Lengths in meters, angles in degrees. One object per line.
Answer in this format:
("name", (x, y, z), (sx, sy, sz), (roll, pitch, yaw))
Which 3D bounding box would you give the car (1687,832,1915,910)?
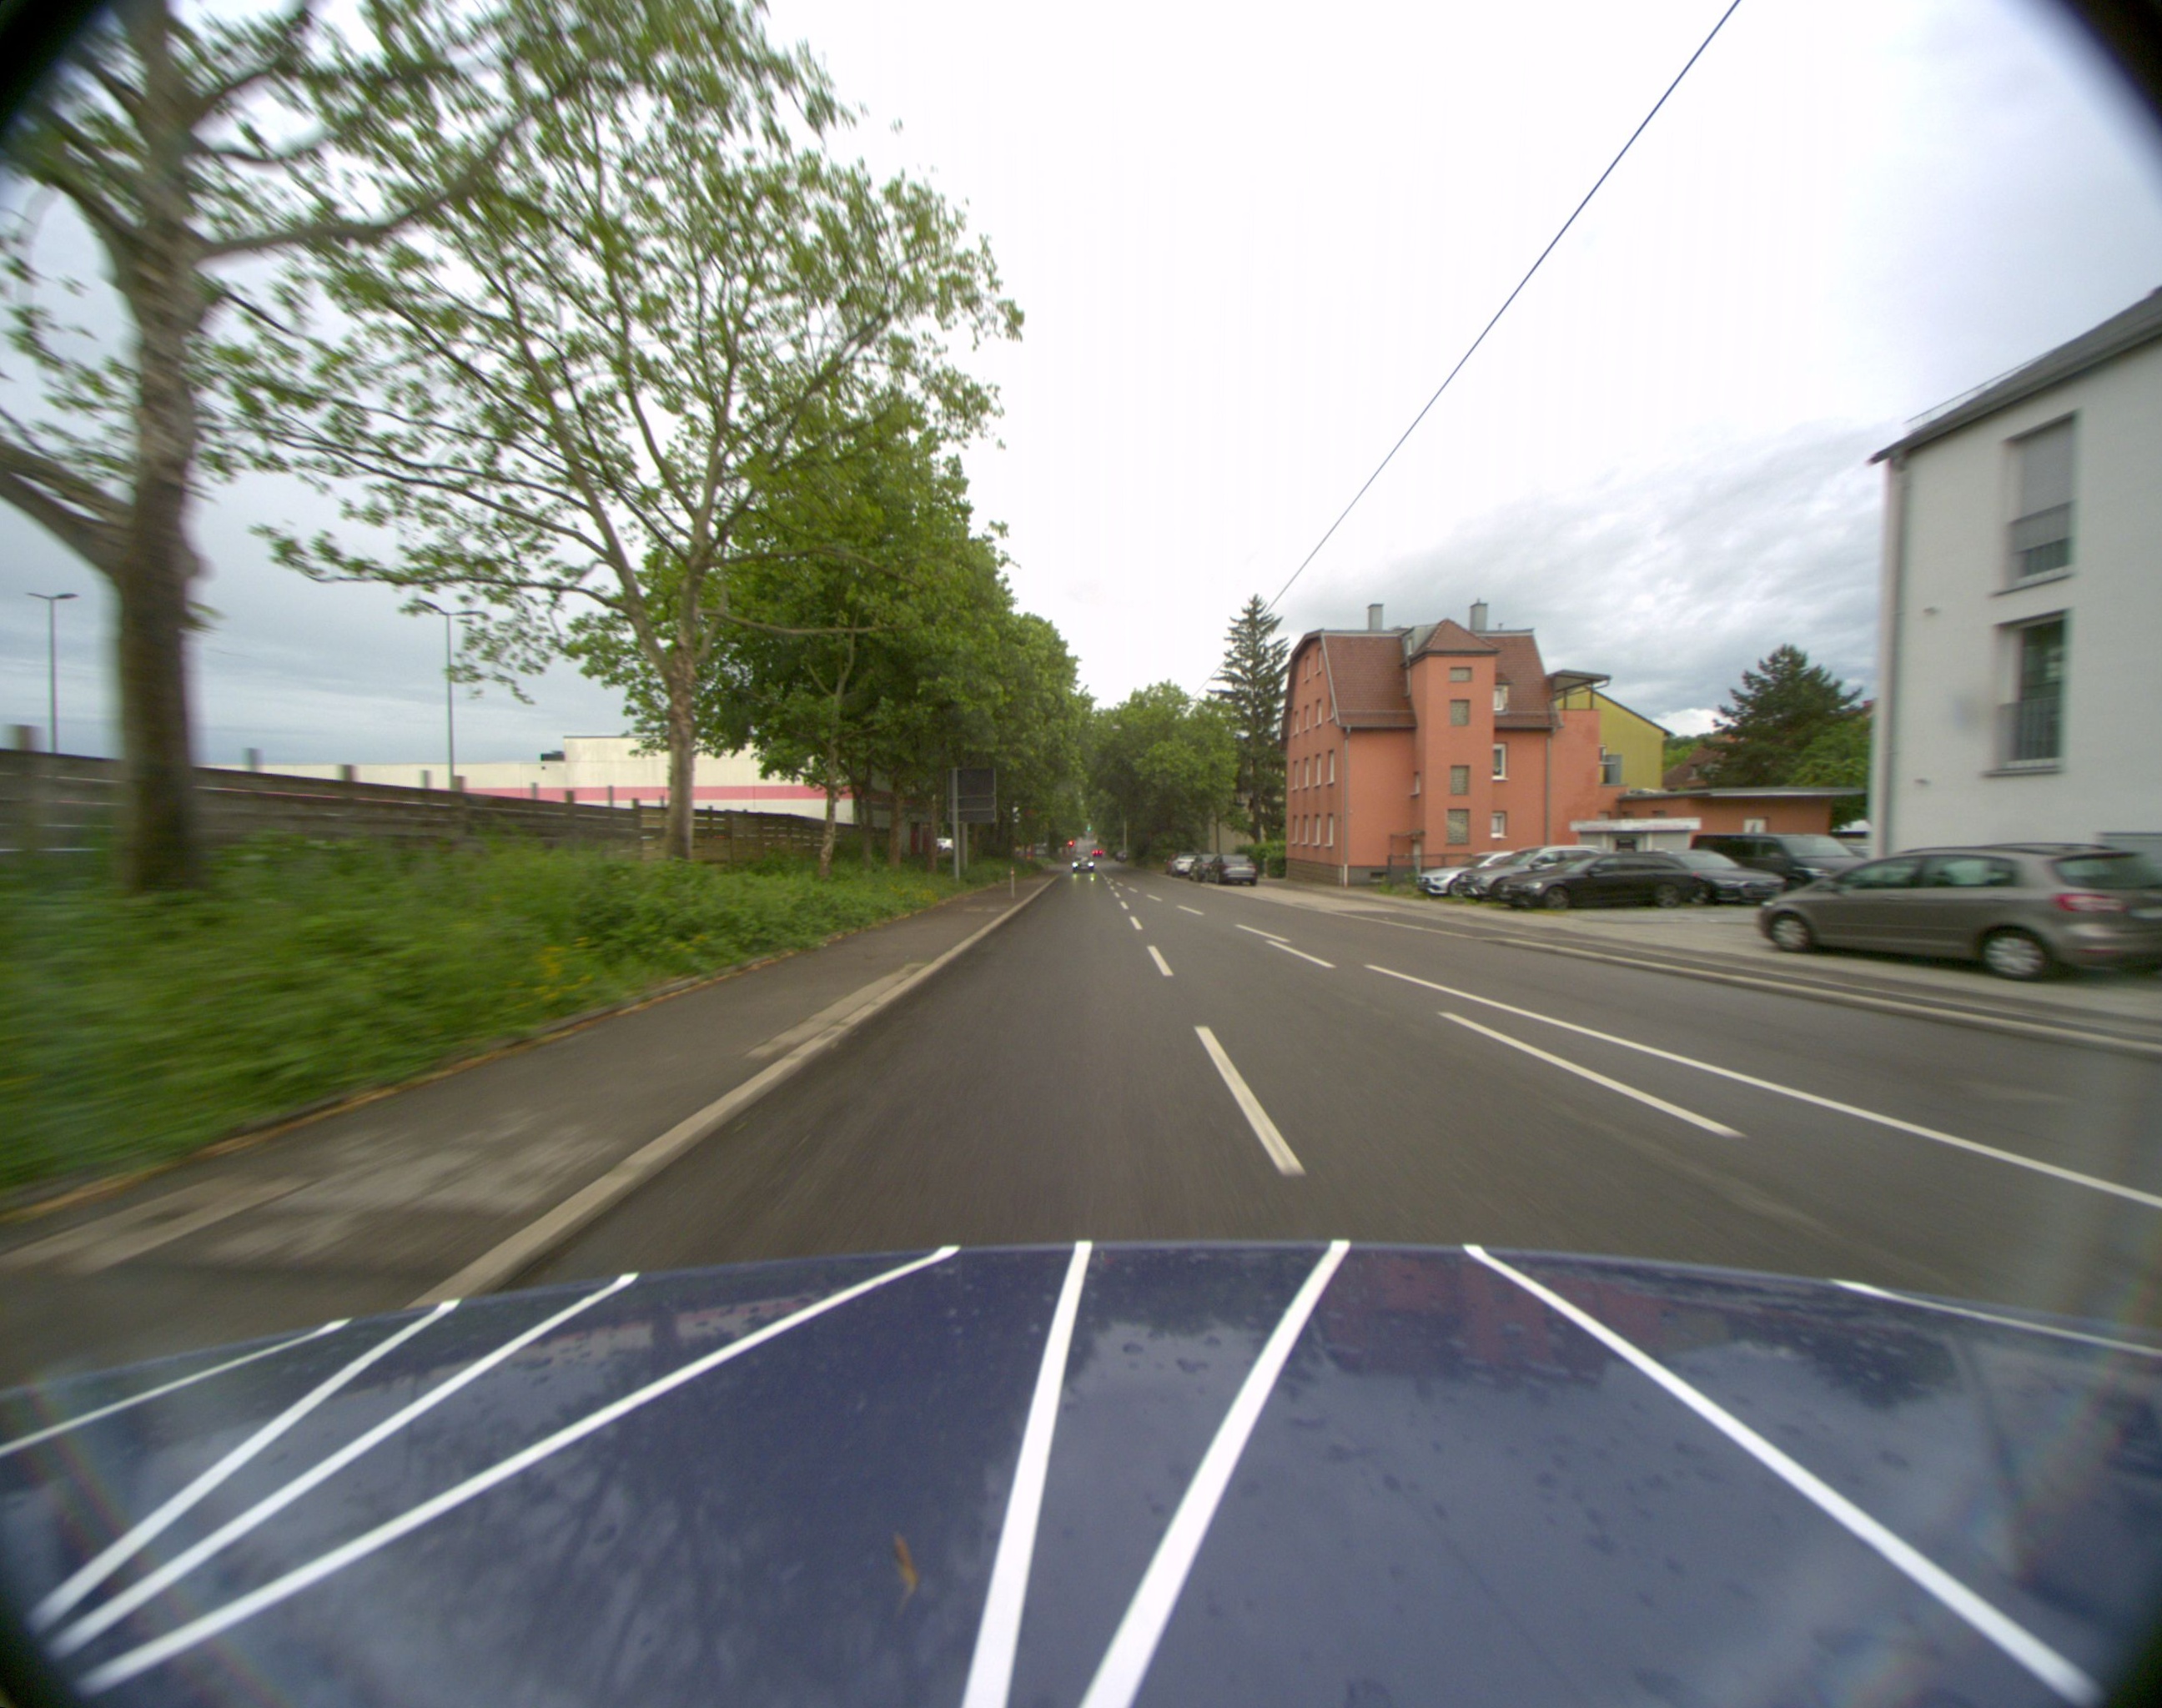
("car", (20.248, 0.423, 21.738), (1.998, 2.002, 4.764), (0, 0, 0))

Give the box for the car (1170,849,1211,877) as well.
("car", (6.611, 0.507, 46.364), (1.816, 1.537, 4.198), (3, 0, 0))

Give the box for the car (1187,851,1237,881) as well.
("car", (6.829, 0.598, 39.988), (1.816, 1.443, 4.197), (-1, 0, -2))

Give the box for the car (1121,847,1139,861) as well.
("car", (5.729, -0.009, 88.656), (1.842, 1.631, 4.194), (-1, 0, 0))

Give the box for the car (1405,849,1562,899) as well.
("car", (13.425, 0.650, 25.570), (4.171, 1.425, 2.000), (-3, 0, 2))

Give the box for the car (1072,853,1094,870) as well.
("car", (0.223, 0.630, 65.937), (1.842, 1.403, 4.000), (-1, 0, 0))

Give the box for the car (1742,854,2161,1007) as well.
("car", (11.589, 0.812, 10.154), (1.750, 1.543, 4.082), (-3, 0, -4))

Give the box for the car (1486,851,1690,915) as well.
("car", (13.445, 0.734, 20.338), (4.136, 1.455, 1.896), (-2, 1, 2))

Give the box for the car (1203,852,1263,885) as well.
("car", (6.957, 0.634, 35.172), (1.789, 1.402, 4.197), (1, 0, -2))

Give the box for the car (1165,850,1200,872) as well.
("car", (6.875, 0.478, 51.954), (1.816, 1.425, 4.198), (-1, 0, 0))

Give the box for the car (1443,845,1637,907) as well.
("car", (13.783, 0.635, 23.065), (4.542, 1.599, 2.153), (-3, 1, 2))

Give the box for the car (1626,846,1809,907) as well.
("car", (17.584, 0.570, 21.274), (1.785, 1.553, 4.000), (0, 0, 0))

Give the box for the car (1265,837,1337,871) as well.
("car", (14.040, 0.004, 48.661), (3.997, 2.002, 1.999), (-2, 1, -1))

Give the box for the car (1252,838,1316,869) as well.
("car", (13.947, -0.039, 52.409), (3.994, 2.002, 2.001), (-2, 1, 8))
